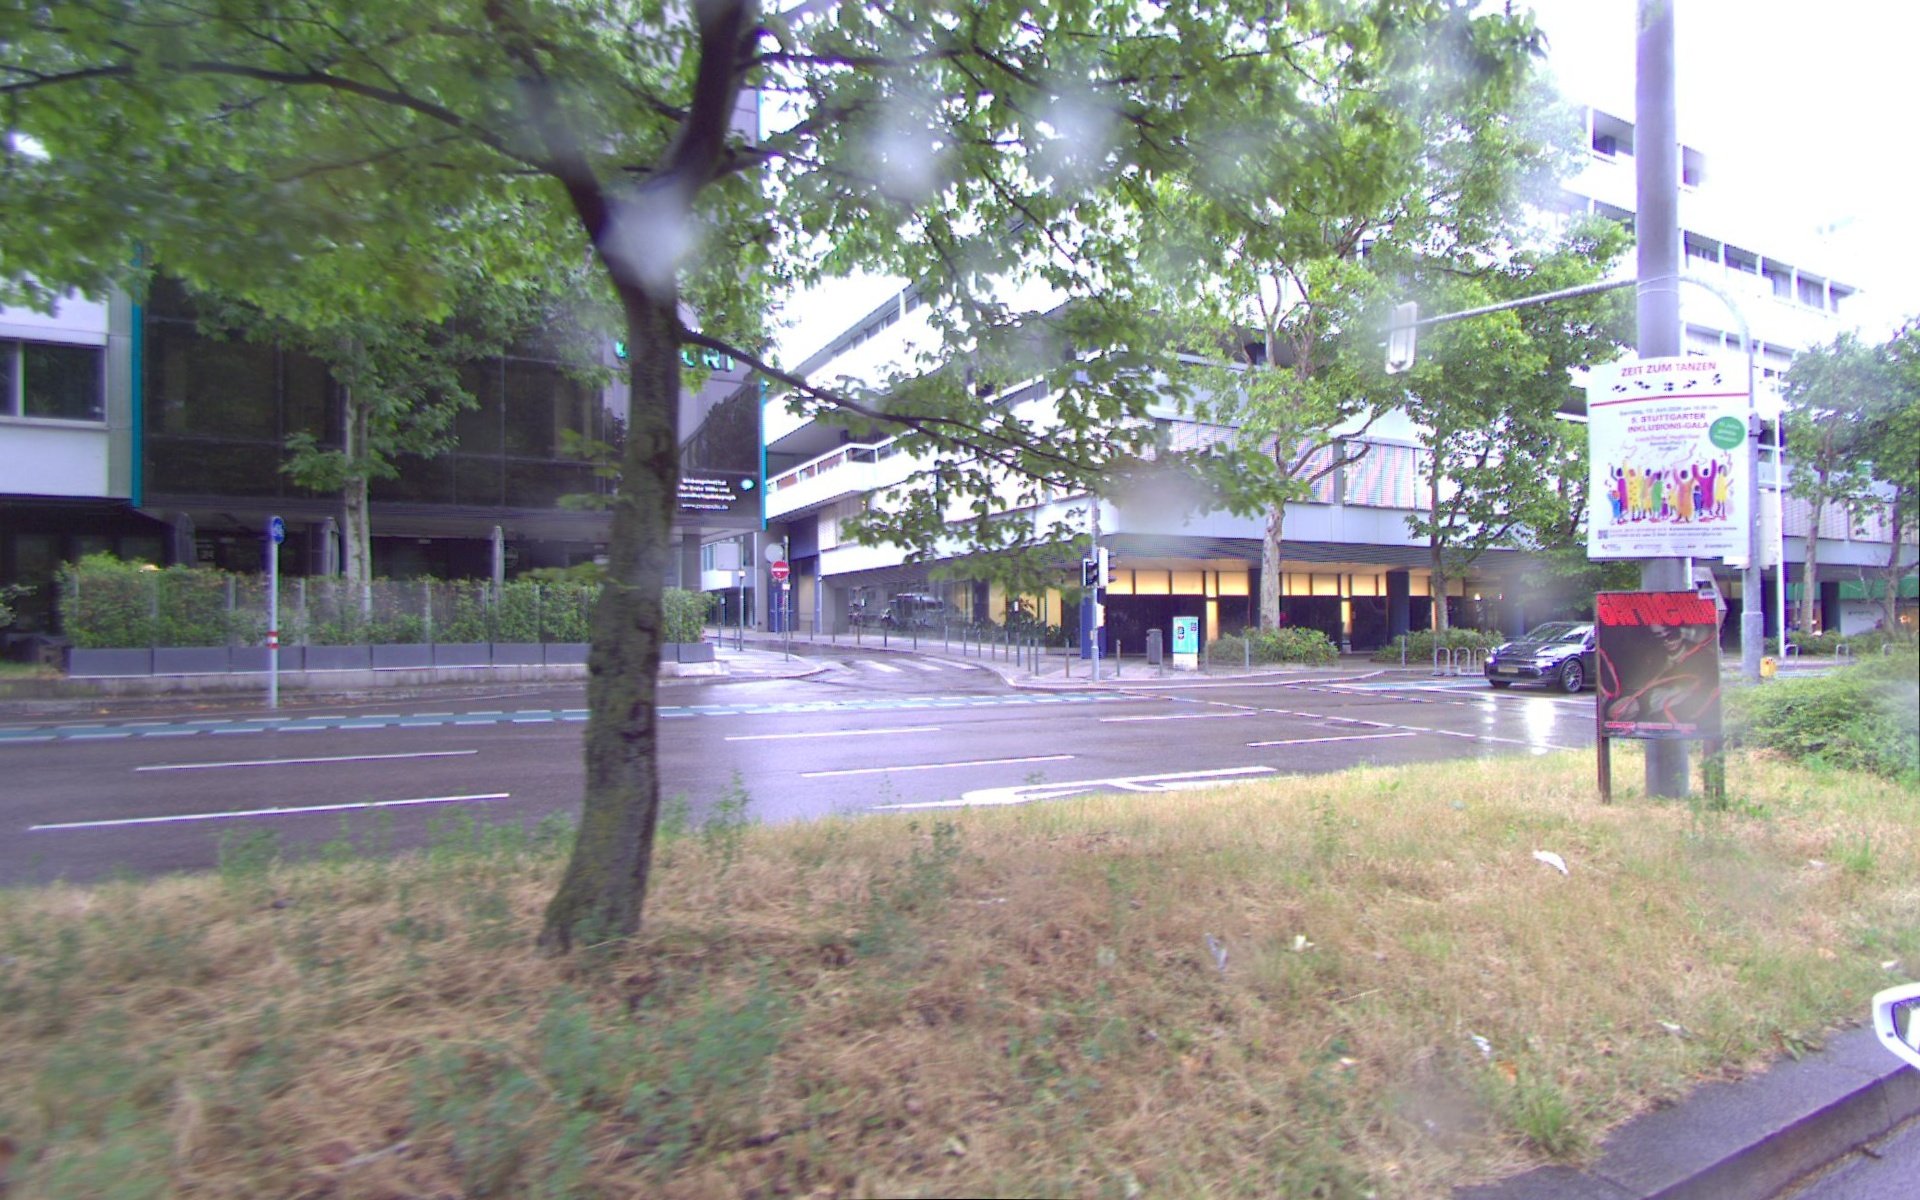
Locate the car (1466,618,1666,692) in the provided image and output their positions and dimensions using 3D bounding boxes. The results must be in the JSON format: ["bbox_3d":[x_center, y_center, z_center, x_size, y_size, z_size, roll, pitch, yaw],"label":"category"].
[{"bbox_3d":[14.768,1.320,24.441,4.683,1.605,1.903,2,0,-26],"label":"car"}]

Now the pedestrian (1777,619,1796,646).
[{"bbox_3d":[42.864,1.680,52.087,0.470,1.398,0.632,2,0,-40],"label":"pedestrian"}]
